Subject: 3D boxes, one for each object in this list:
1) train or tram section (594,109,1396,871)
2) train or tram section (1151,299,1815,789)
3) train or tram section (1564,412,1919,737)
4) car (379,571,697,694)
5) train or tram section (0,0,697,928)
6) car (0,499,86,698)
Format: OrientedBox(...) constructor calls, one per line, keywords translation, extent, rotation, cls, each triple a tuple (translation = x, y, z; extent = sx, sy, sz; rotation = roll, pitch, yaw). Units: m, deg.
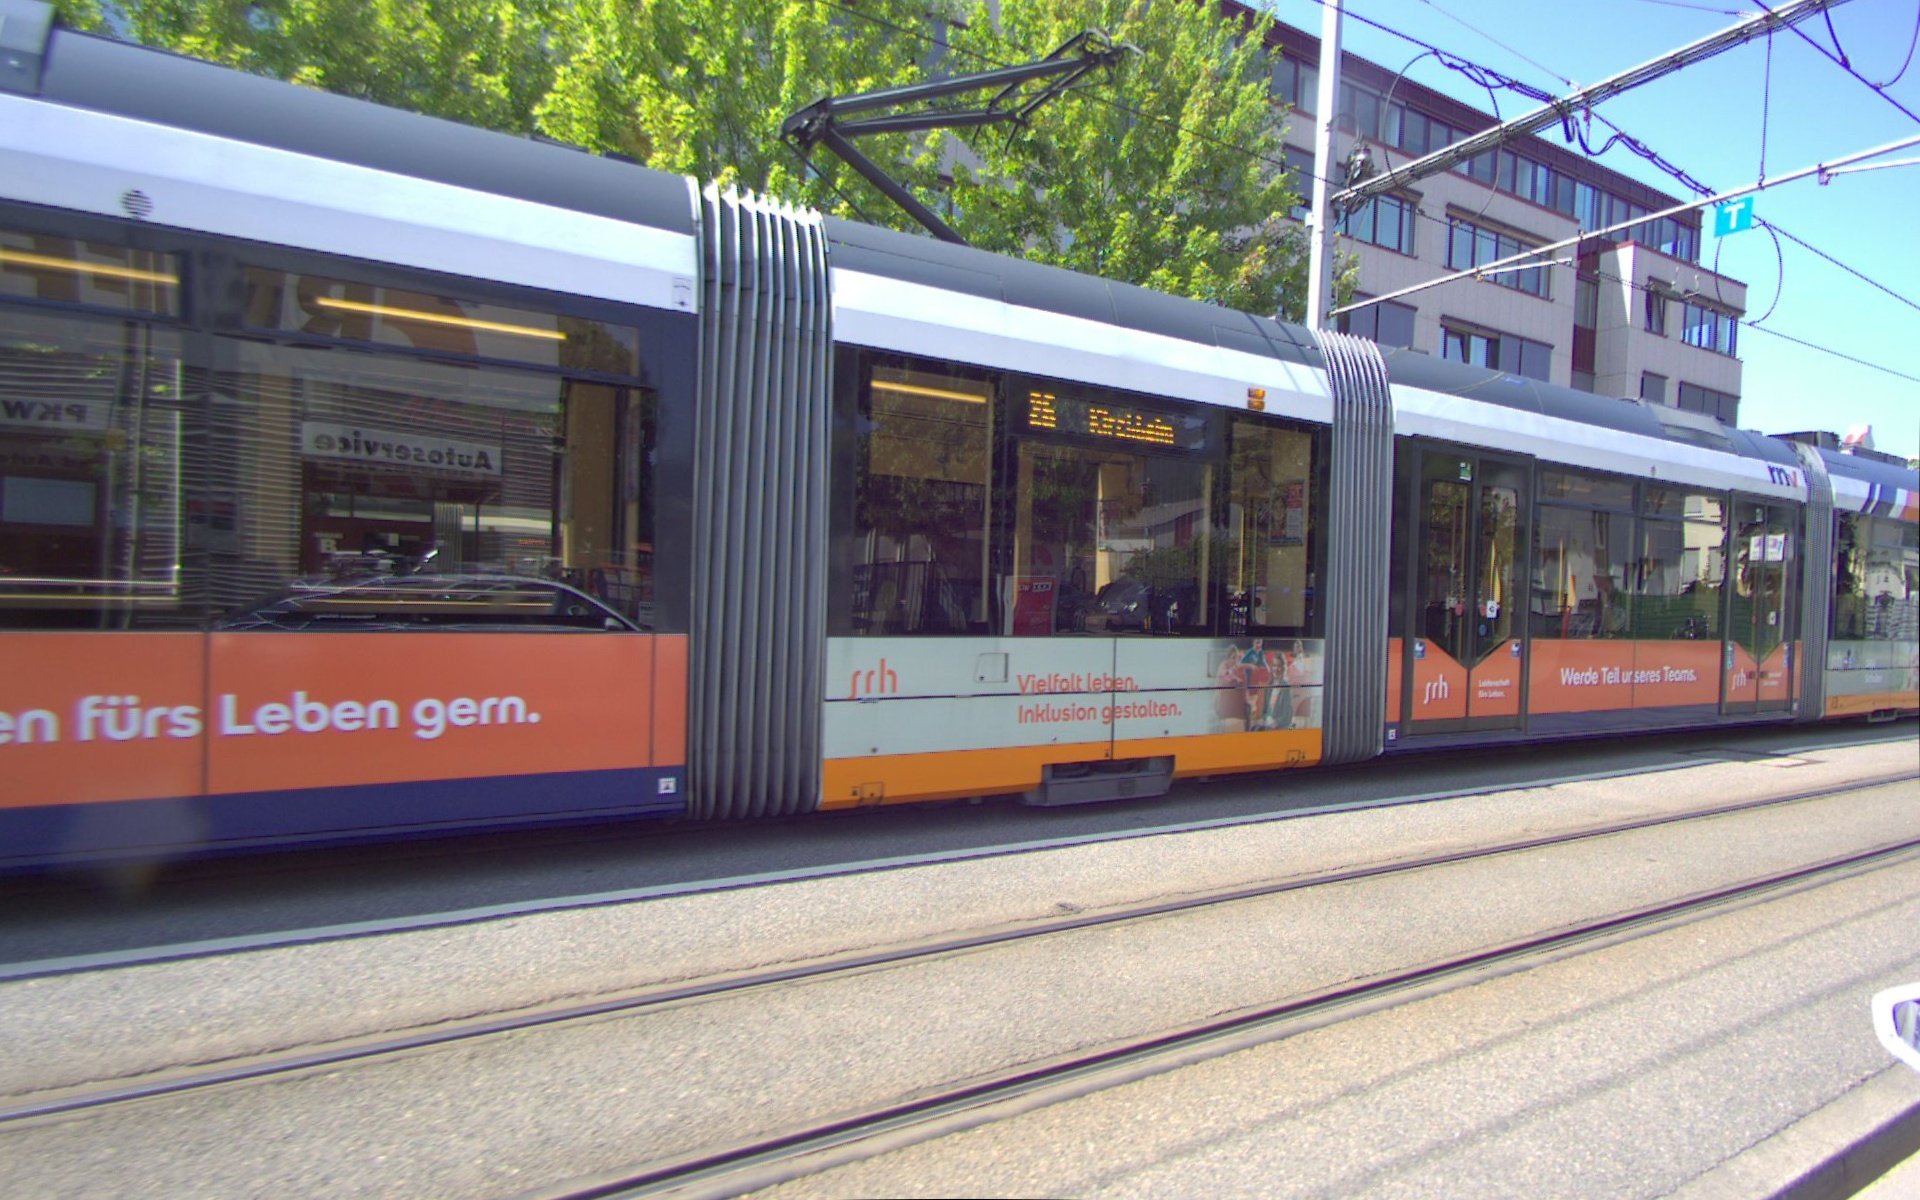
OrientedBox(translation=(0.302, -0.463, 7.013), extent=(4.953, 3.493, 2.598), rotation=(1, 0, -31), cls="train or tram section")
OrientedBox(translation=(5.488, -0.335, 10.095), extent=(7.054, 3.493, 2.567), rotation=(1, 0, -31), cls="train or tram section")
OrientedBox(translation=(11.224, -0.220, 13.556), extent=(6.289, 3.493, 2.567), rotation=(1, 0, -31), cls="train or tram section")
OrientedBox(translation=(-5.951, 0.428, 14.297), extent=(3.952, 1.539, 1.752), rotation=(2, 1, -30), cls="car")
OrientedBox(translation=(-4.356, -0.667, 4.209), extent=(5.776, 3.493, 2.598), rotation=(1, 0, -31), cls="train or tram section")
OrientedBox(translation=(-9.729, -0.033, 7.895), extent=(4.025, 1.605, 1.714), rotation=(1, -2, -31), cls="car")
